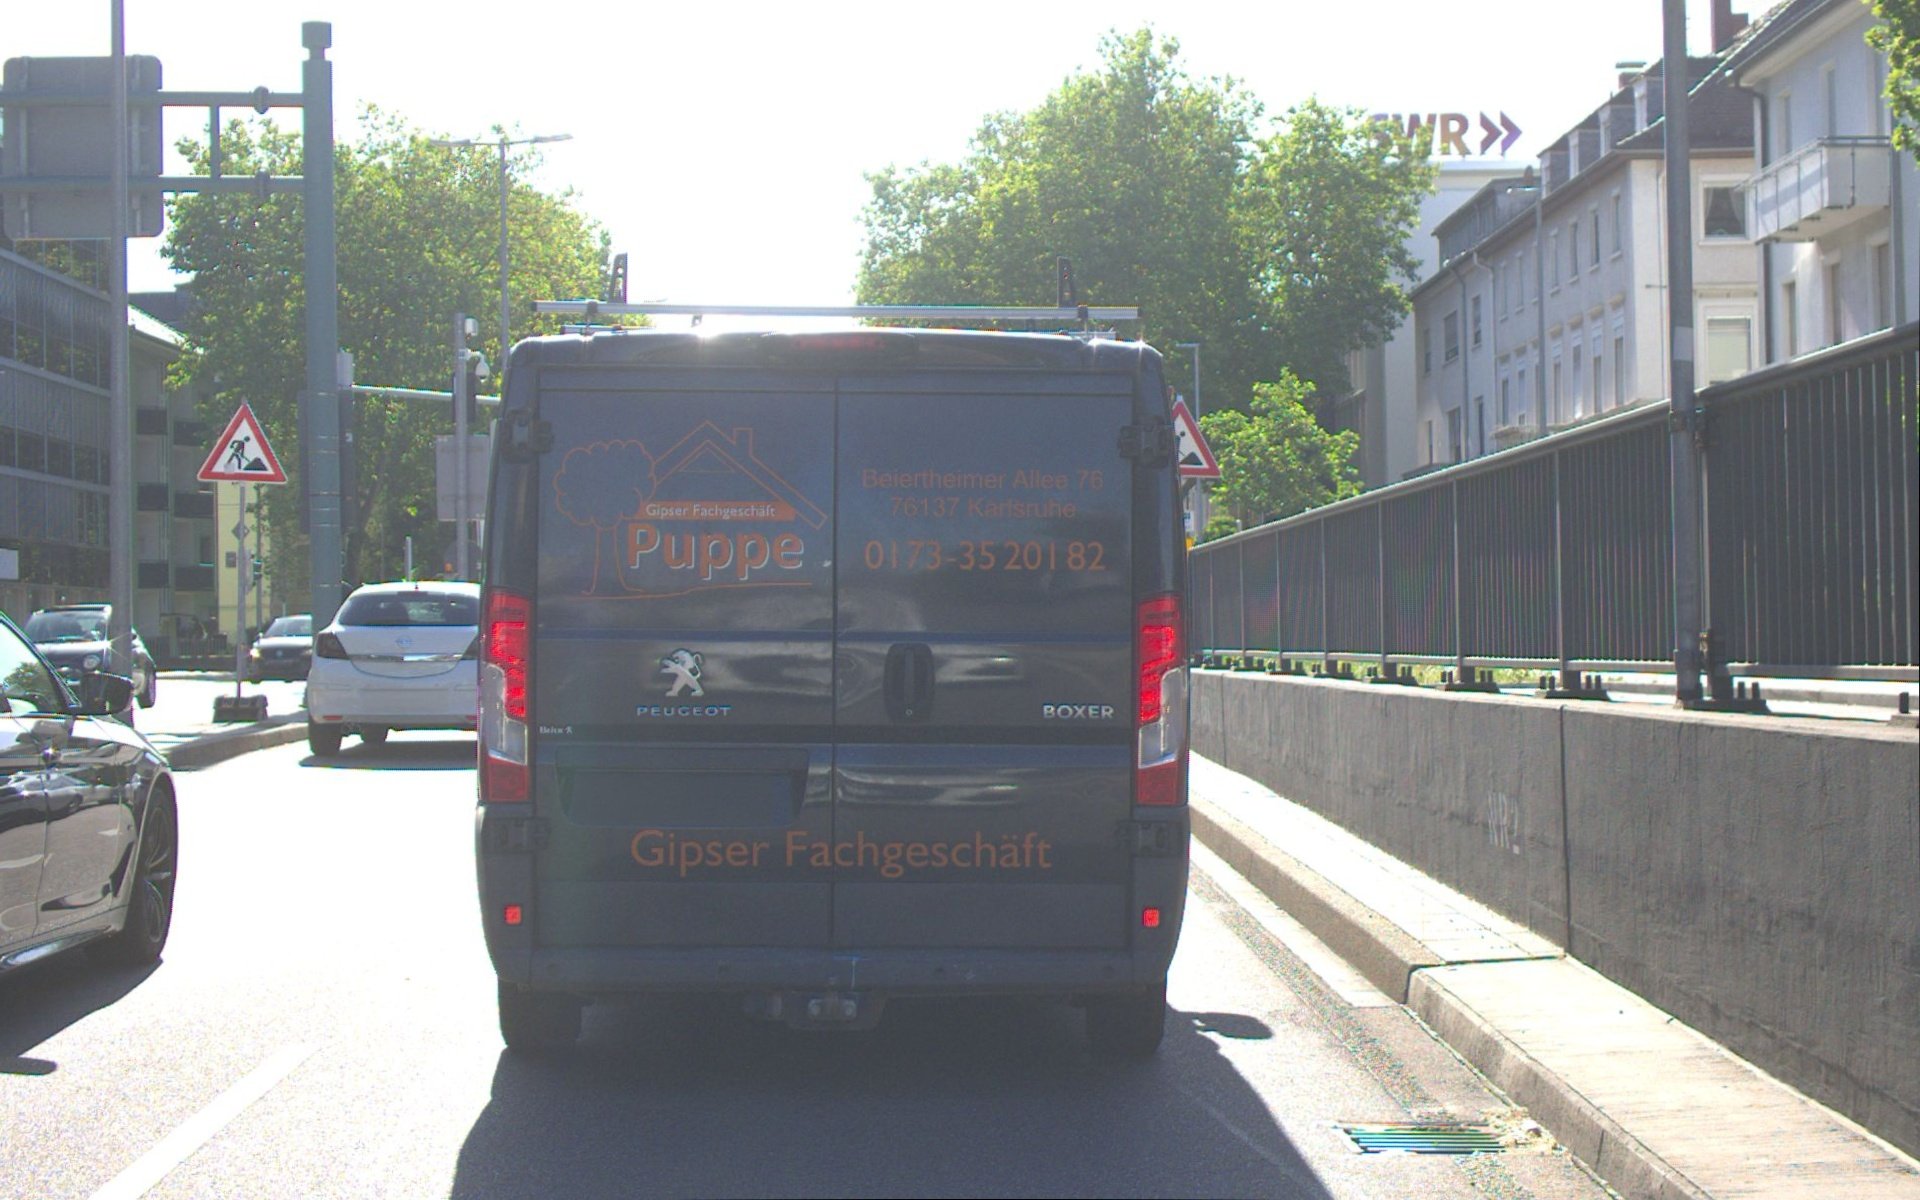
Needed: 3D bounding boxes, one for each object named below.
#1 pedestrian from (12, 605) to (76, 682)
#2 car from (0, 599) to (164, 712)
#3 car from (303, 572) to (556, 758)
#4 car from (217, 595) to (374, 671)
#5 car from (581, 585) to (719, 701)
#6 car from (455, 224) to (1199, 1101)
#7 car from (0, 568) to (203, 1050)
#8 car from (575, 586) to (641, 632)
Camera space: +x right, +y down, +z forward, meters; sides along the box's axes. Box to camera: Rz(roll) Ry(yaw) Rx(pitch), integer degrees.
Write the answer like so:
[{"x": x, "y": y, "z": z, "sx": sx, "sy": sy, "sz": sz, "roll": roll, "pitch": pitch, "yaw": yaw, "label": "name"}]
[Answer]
[{"x": -23.234, "y": 1.093, "z": 87.222, "sx": 1.332, "sy": 1.925, "sz": 1.026, "roll": 1, "pitch": 0, "yaw": -1, "label": "pedestrian"}, {"x": -12.353, "y": 0.751, "z": 48.239, "sx": 1.591, "sy": 1.440, "sz": 3.496, "roll": -3, "pitch": 0, "yaw": -2, "label": "car"}, {"x": -4.422, "y": 0.499, "z": 29.116, "sx": 1.619, "sy": 1.398, "sz": 3.852, "roll": 1, "pitch": 1, "yaw": -1, "label": "car"}, {"x": -14.126, "y": 0.691, "z": 73.304, "sx": 1.937, "sy": 1.550, "sz": 3.921, "roll": 1, "pitch": 0, "yaw": 11, "label": "car"}, {"x": -4.264, "y": 0.566, "z": 47.643, "sx": 1.689, "sy": 1.478, "sz": 3.319, "roll": 1, "pitch": 1, "yaw": -2, "label": "car"}, {"x": -0.403, "y": 0.168, "z": 11.392, "sx": 2.030, "sy": 2.394, "sz": 3.973, "roll": 0, "pitch": 0, "yaw": -1, "label": "car"}, {"x": -3.790, "y": 0.612, "z": 10.895, "sx": 1.808, "sy": 1.434, "sz": 5.003, "roll": 1, "pitch": 0, "yaw": -2, "label": "car"}, {"x": -12.184, "y": 0.296, "z": 119.176, "sx": 1.936, "sy": 1.550, "sz": 3.923, "roll": 1, "pitch": 0, "yaw": -1, "label": "car"}]
